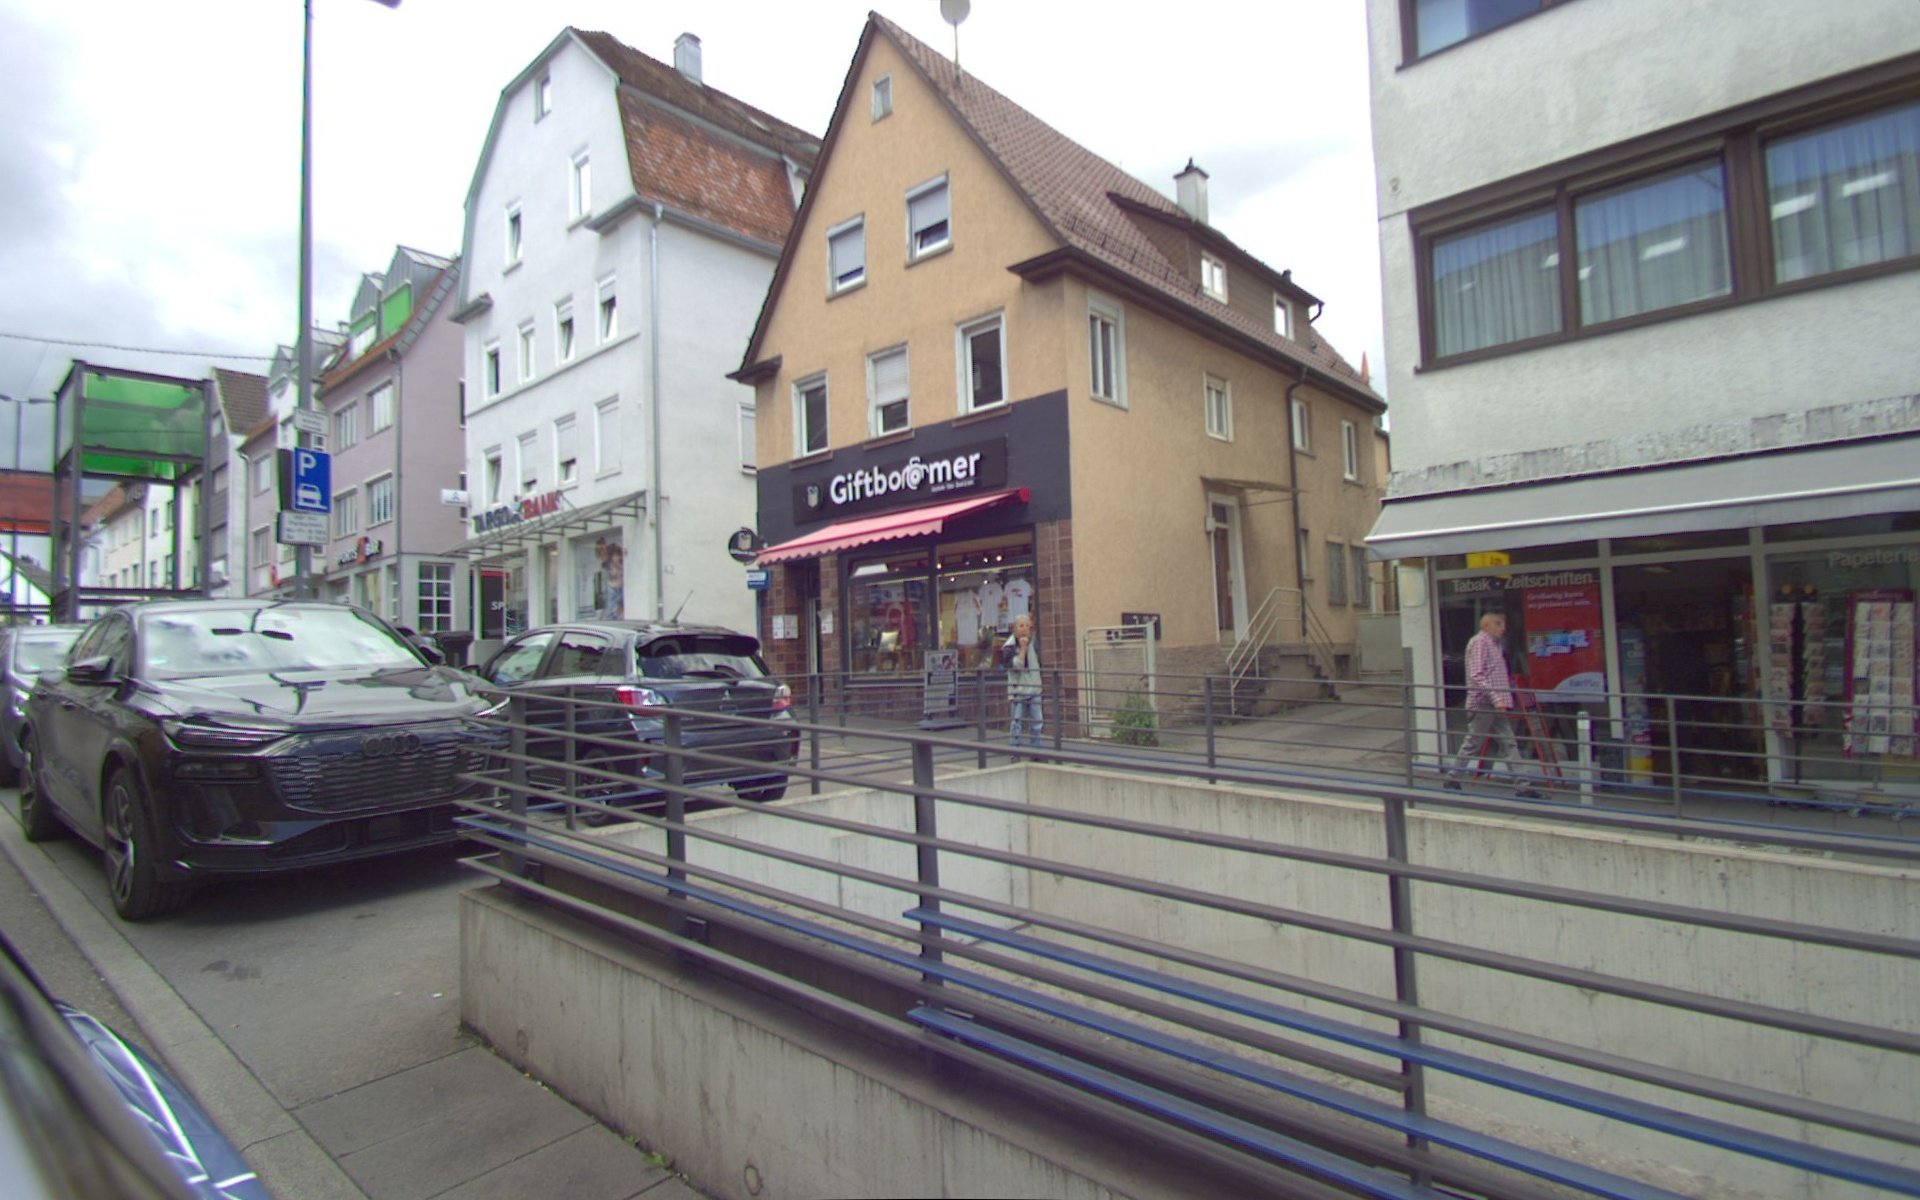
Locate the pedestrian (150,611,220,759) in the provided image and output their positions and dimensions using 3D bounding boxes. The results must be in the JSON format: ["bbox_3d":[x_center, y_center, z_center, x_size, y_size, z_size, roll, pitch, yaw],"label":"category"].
[{"bbox_3d":[-9.200,0.983,12.012,0.901,1.685,0.527,-3,-3,44],"label":"pedestrian"}]

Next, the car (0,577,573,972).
[{"bbox_3d":[-4.452,0.767,6.384,4.311,1.652,1.936,-2,-1,40],"label":"car"}]

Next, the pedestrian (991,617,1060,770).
[{"bbox_3d":[0.748,1.061,11.715,0.635,1.702,0.667,0,-3,-9],"label":"pedestrian"}]

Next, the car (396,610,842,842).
[{"bbox_3d":[-2.970,0.915,8.460,3.881,1.487,1.721,-2,-5,40],"label":"car"}]

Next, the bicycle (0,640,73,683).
[{"bbox_3d":[-27.389,1.812,29.861,0.459,1.232,1.759,-2,-3,40],"label":"bicycle"}]

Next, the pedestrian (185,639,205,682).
[{"bbox_3d":[-31.694,2.487,41.920,0.513,1.729,0.584,-2,-1,41],"label":"pedestrian"}]

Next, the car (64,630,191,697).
[{"bbox_3d":[-20.199,1.495,24.511,3.851,1.486,1.553,-2,-3,38],"label":"car"}]

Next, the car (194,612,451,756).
[{"bbox_3d":[-8.387,0.971,13.161,4.191,1.554,1.721,-2,-1,41],"label":"car"}]

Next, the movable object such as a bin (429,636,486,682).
[{"bbox_3d":[-15.633,1.828,31.489,1.067,1.387,1.270,-2,-2,41],"label":"movable object such as a bin"}]

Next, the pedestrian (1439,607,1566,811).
[{"bbox_3d":[4.814,0.926,8.990,0.632,1.702,0.828,3,-3,-44],"label":"pedestrian"}]

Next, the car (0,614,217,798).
[{"bbox_3d":[-9.109,0.951,10.434,3.669,1.544,1.603,-2,-1,41],"label":"car"}]
